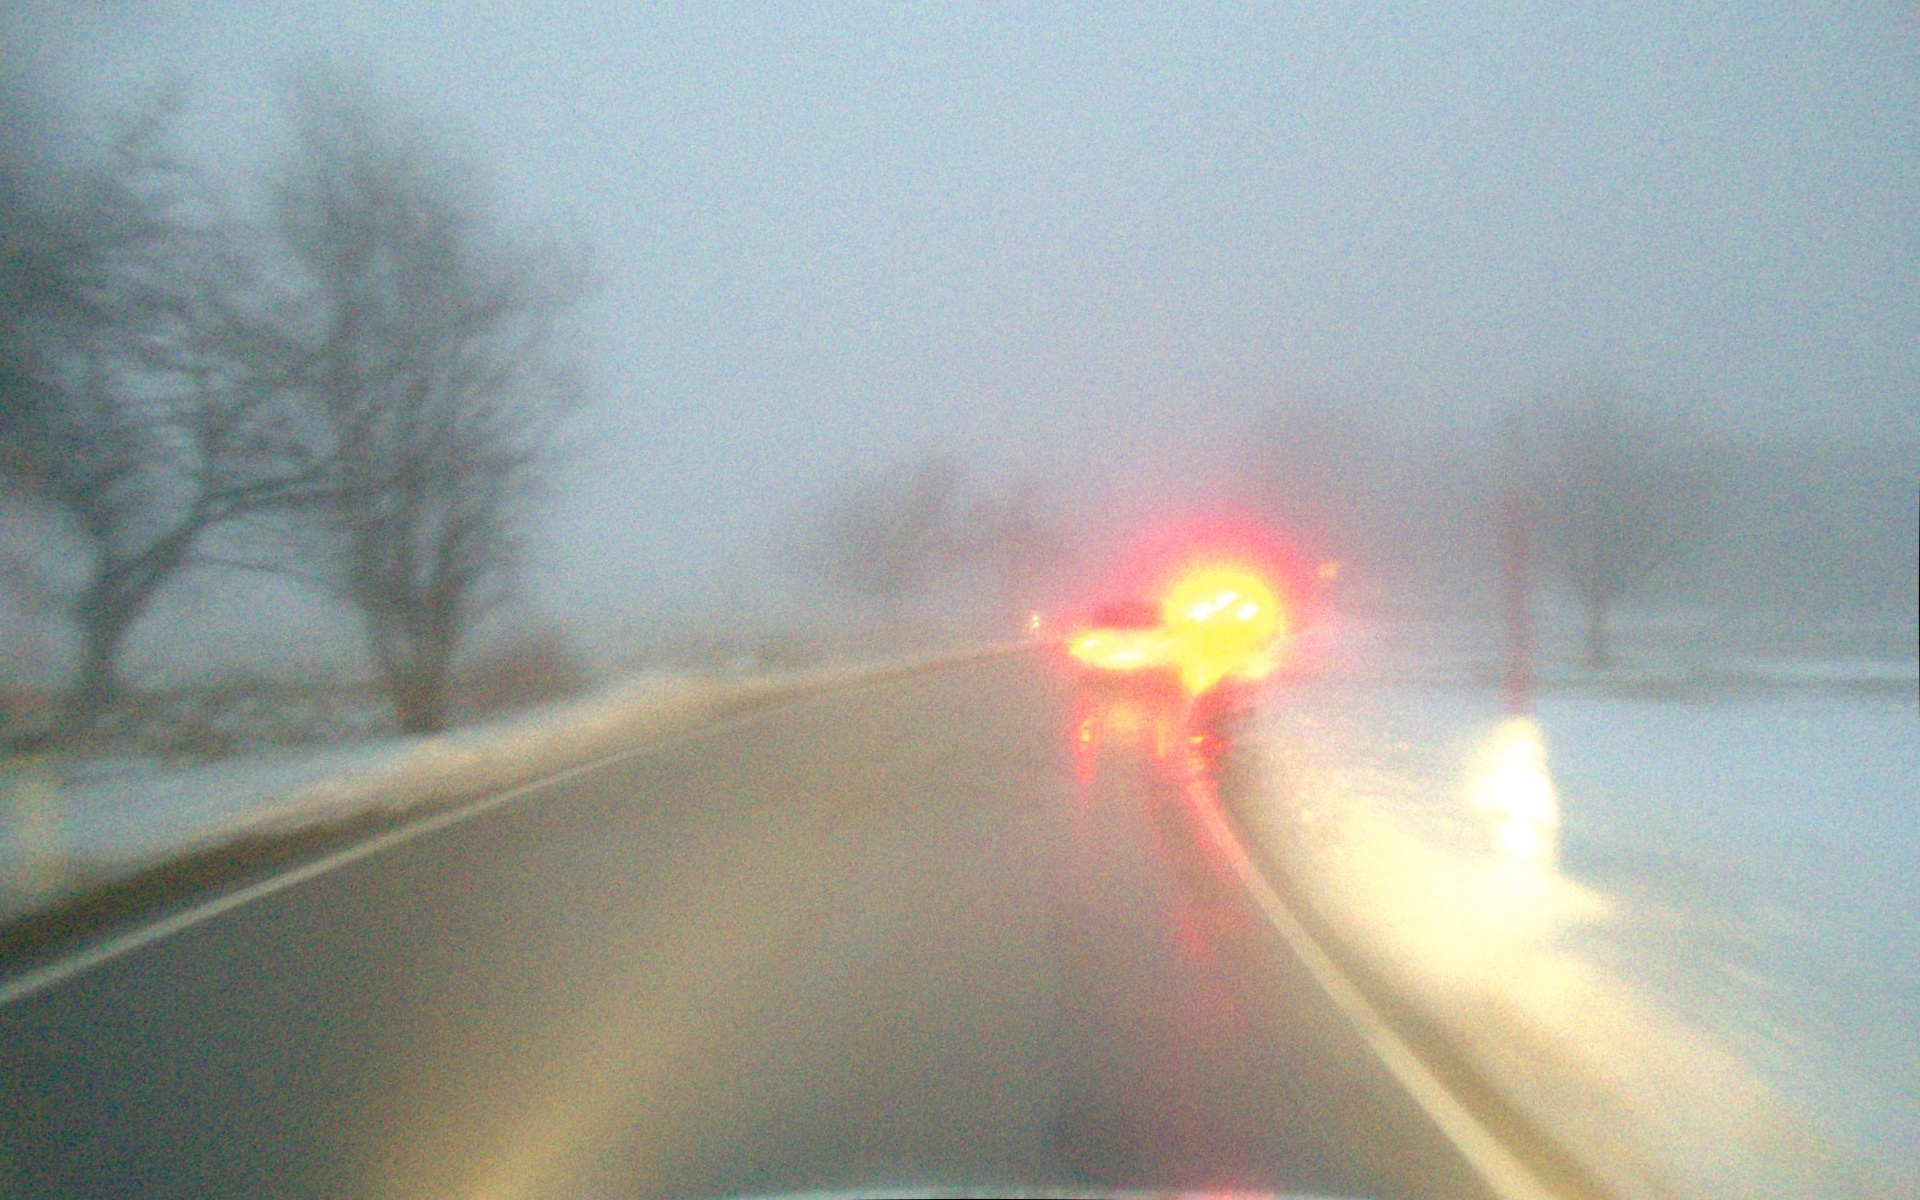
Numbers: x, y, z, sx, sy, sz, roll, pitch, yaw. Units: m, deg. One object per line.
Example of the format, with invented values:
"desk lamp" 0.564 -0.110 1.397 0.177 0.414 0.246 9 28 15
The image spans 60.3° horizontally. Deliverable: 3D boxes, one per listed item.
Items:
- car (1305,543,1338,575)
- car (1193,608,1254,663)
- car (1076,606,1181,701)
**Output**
"car" 18.527 -2.092 84.659 1.490 1.534 3.055 -1 -1 15
"car" 7.785 1.016 48.758 1.447 1.534 3.055 -1 0 15
"car" 3.014 0.897 29.195 1.670 1.489 4.003 2 0 7
